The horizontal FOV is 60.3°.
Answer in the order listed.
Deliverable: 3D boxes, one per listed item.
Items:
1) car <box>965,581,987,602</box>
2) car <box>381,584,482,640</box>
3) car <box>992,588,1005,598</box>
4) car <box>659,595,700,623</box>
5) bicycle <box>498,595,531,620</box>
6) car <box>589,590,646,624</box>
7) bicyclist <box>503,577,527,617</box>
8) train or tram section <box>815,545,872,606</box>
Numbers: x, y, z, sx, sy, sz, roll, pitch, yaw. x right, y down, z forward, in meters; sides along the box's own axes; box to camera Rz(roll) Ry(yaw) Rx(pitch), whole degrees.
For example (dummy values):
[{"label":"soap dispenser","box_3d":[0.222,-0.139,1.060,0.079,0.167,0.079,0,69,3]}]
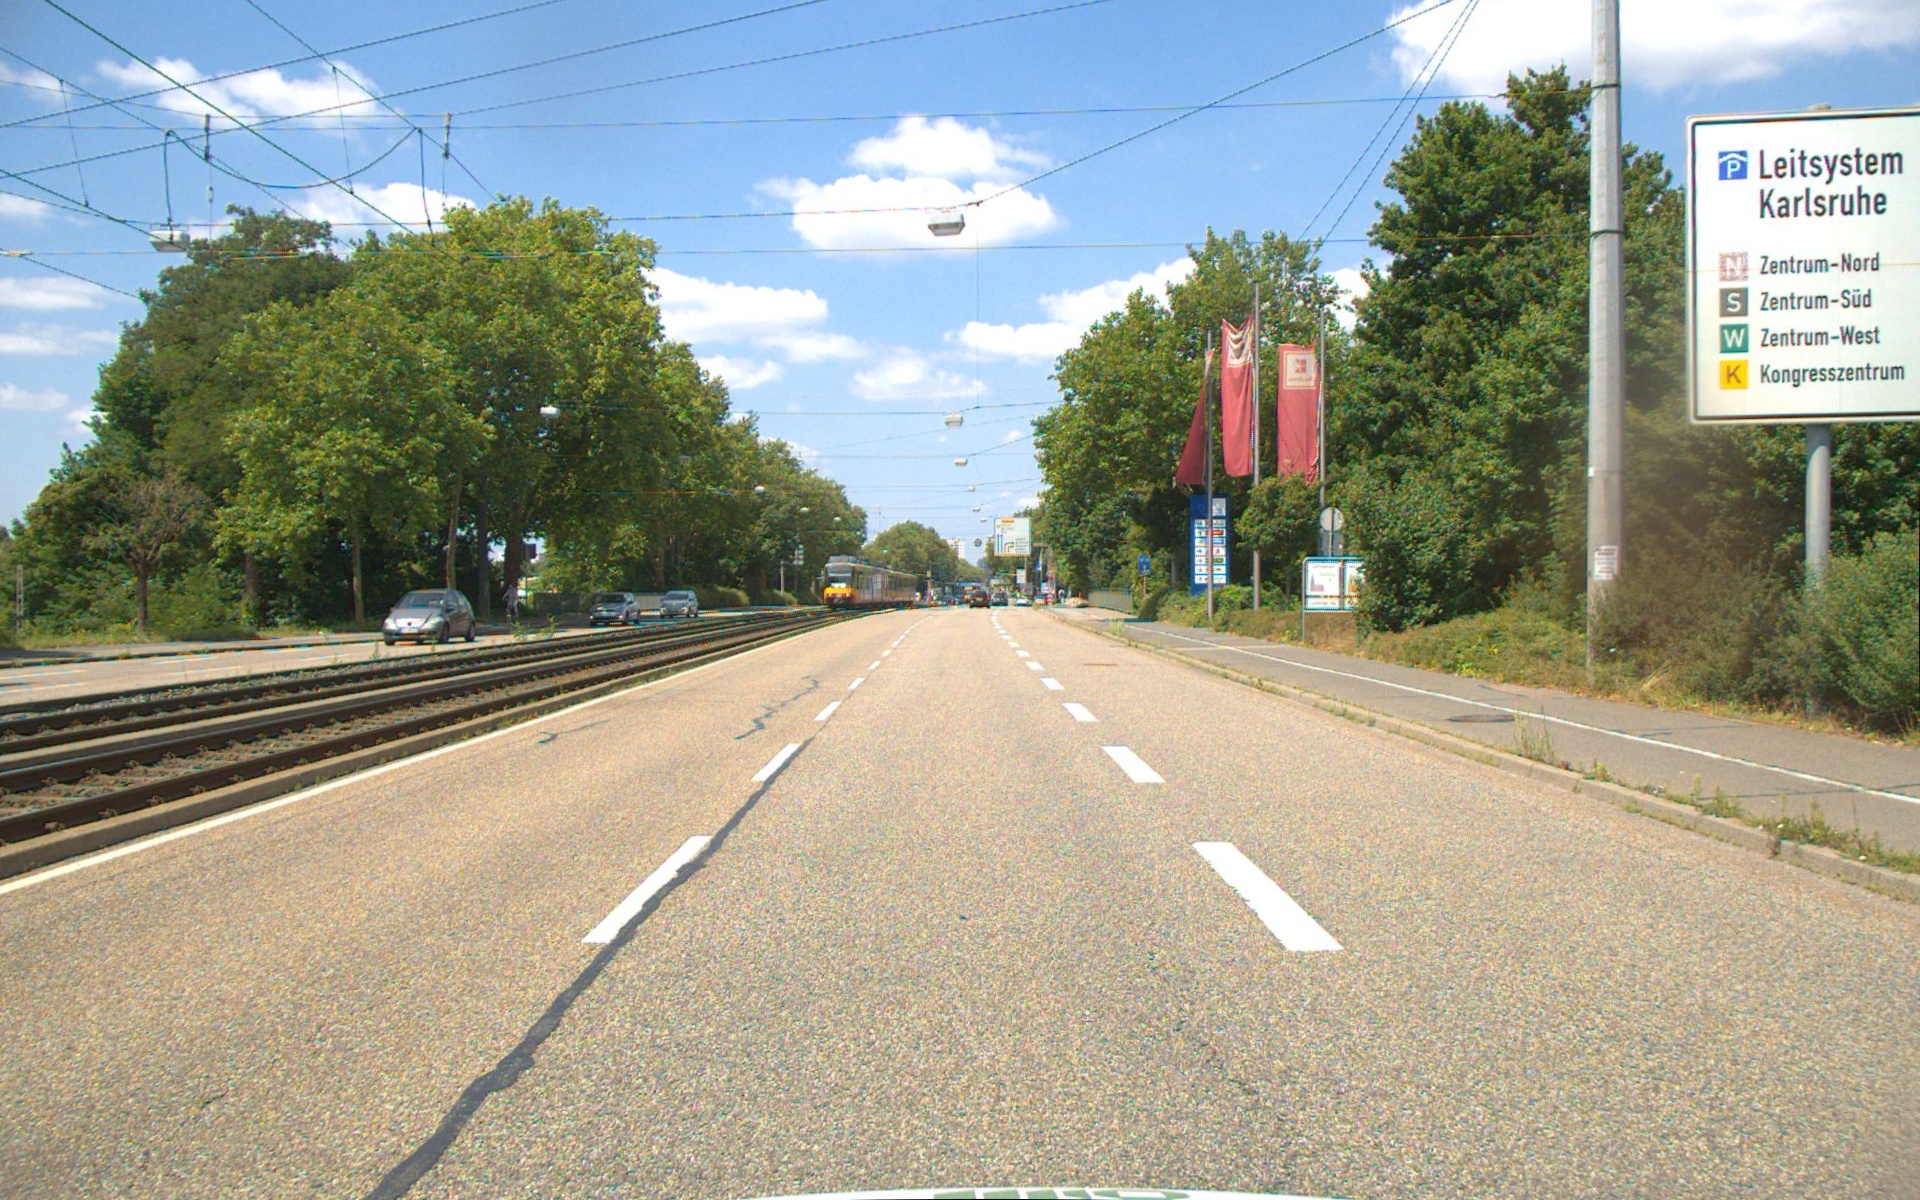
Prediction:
[{"label":"car","box_3d":[1.394,-0.741,145.145,1.861,1.837,3.976,2,0,-1]},{"label":"car","box_3d":[-15.525,0.322,48.765,1.717,1.562,3.956,-1,0,-1]},{"label":"car","box_3d":[5.822,-1.050,250.906,1.838,1.566,3.776,2,0,-1]},{"label":"car","box_3d":[-15.385,0.486,90.782,1.603,1.461,3.721,-2,0,-1]},{"label":"bicycle","box_3d":[-18.868,0.303,70.070,0.609,0.996,2.056,2,0,6]},{"label":"car","box_3d":[-15.390,0.288,74.463,1.603,1.446,4.127,-1,0,1]},{"label":"bicyclist","box_3d":[-18.848,-0.135,70.025,0.609,1.645,1.063,2,0,6]},{"label":"train or tram section","box_3d":[-8.787,-1.828,127.043,2.985,4.342,15.425,0,0,1]}]
